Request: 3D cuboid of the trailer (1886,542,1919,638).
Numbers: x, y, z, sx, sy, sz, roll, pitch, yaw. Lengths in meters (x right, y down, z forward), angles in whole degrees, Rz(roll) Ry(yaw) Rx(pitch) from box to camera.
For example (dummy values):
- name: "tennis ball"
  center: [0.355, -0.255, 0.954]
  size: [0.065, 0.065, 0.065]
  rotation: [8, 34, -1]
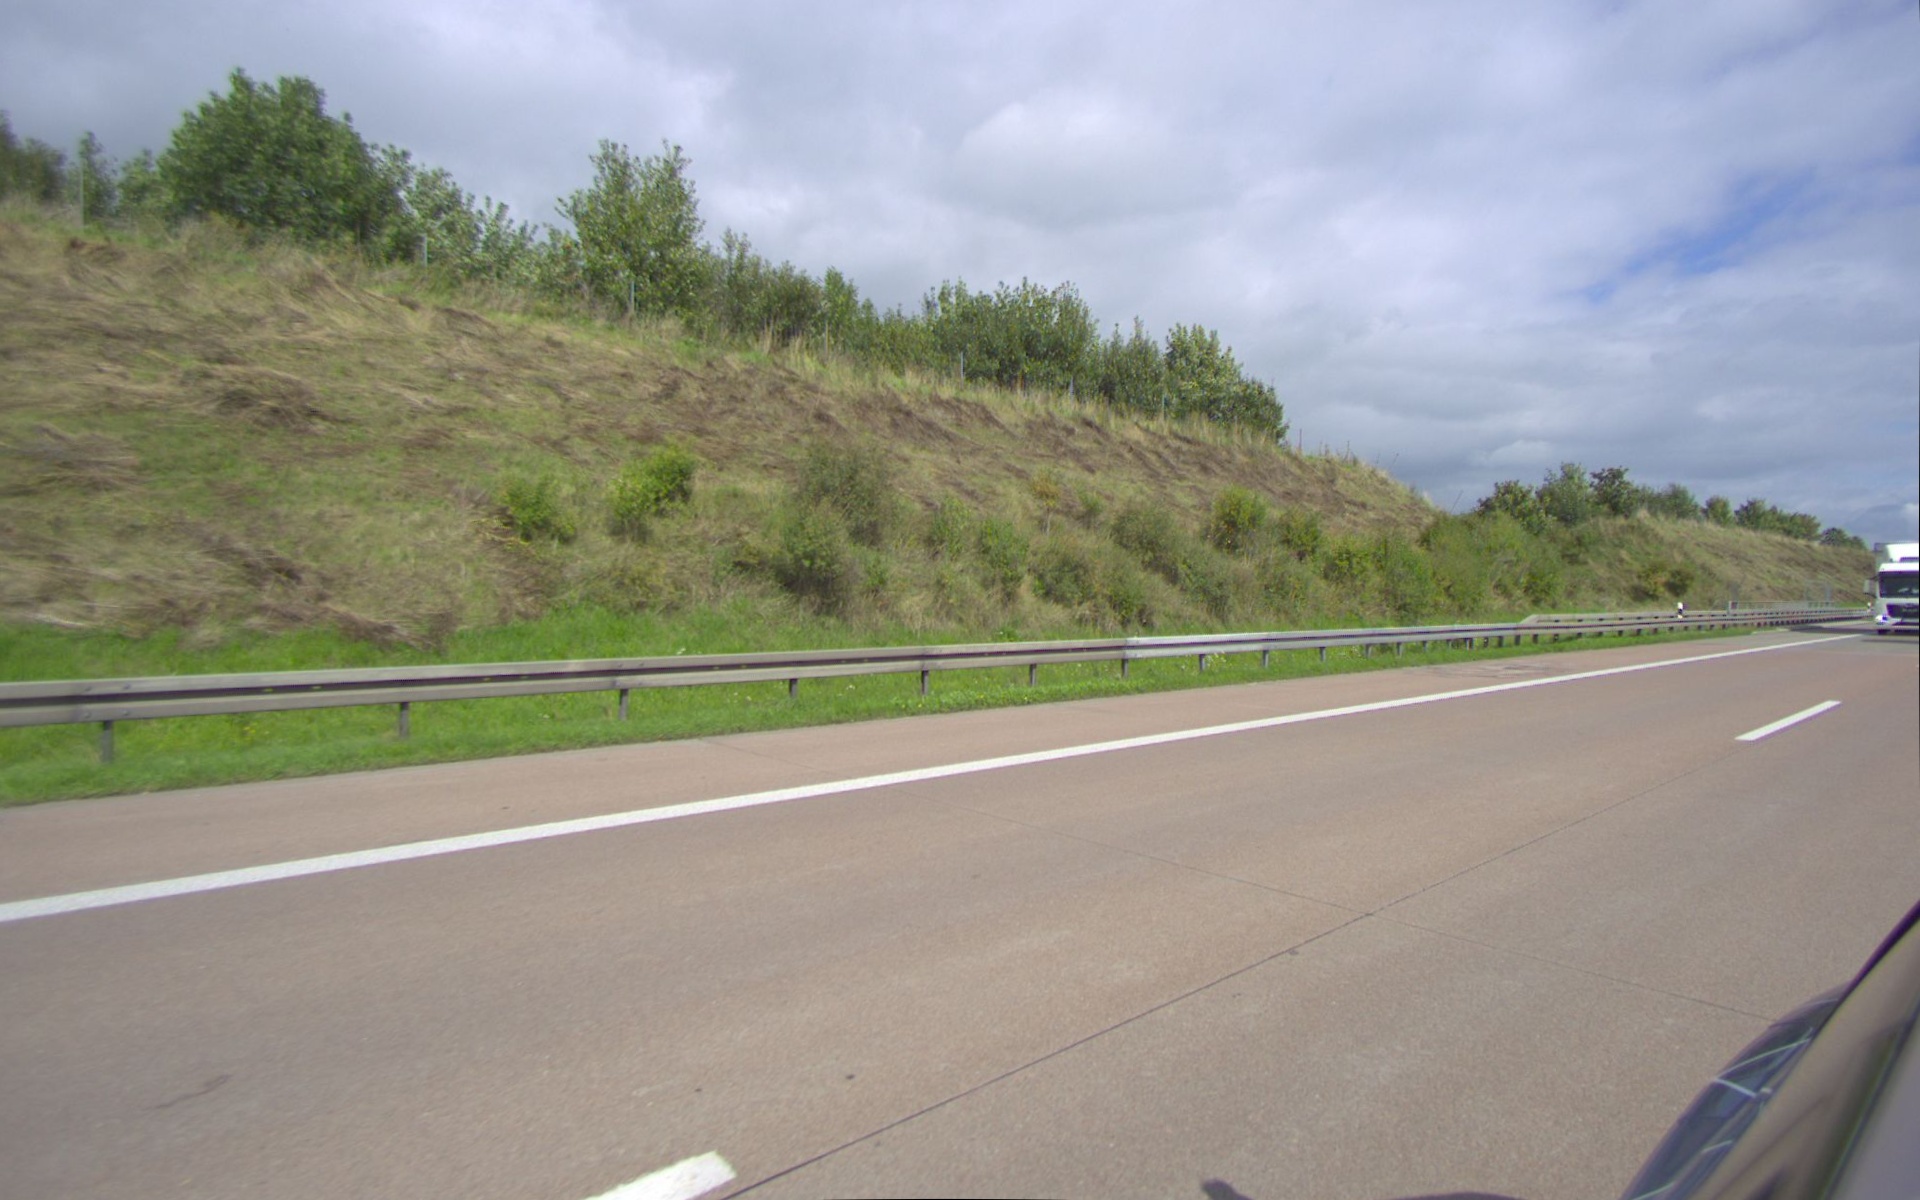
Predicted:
- name: "trailer"
  center: [43.747, -0.483, 45.284]
  size: [8.525, 4.062, 2.750]
  rotation: [-1, 1, -43]

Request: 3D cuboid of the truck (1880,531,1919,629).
- name: "truck"
  center: [40.373, -0.811, 42.107]
  size: [4.469, 3.941, 2.752]
  rotation: [0, 0, -43]
